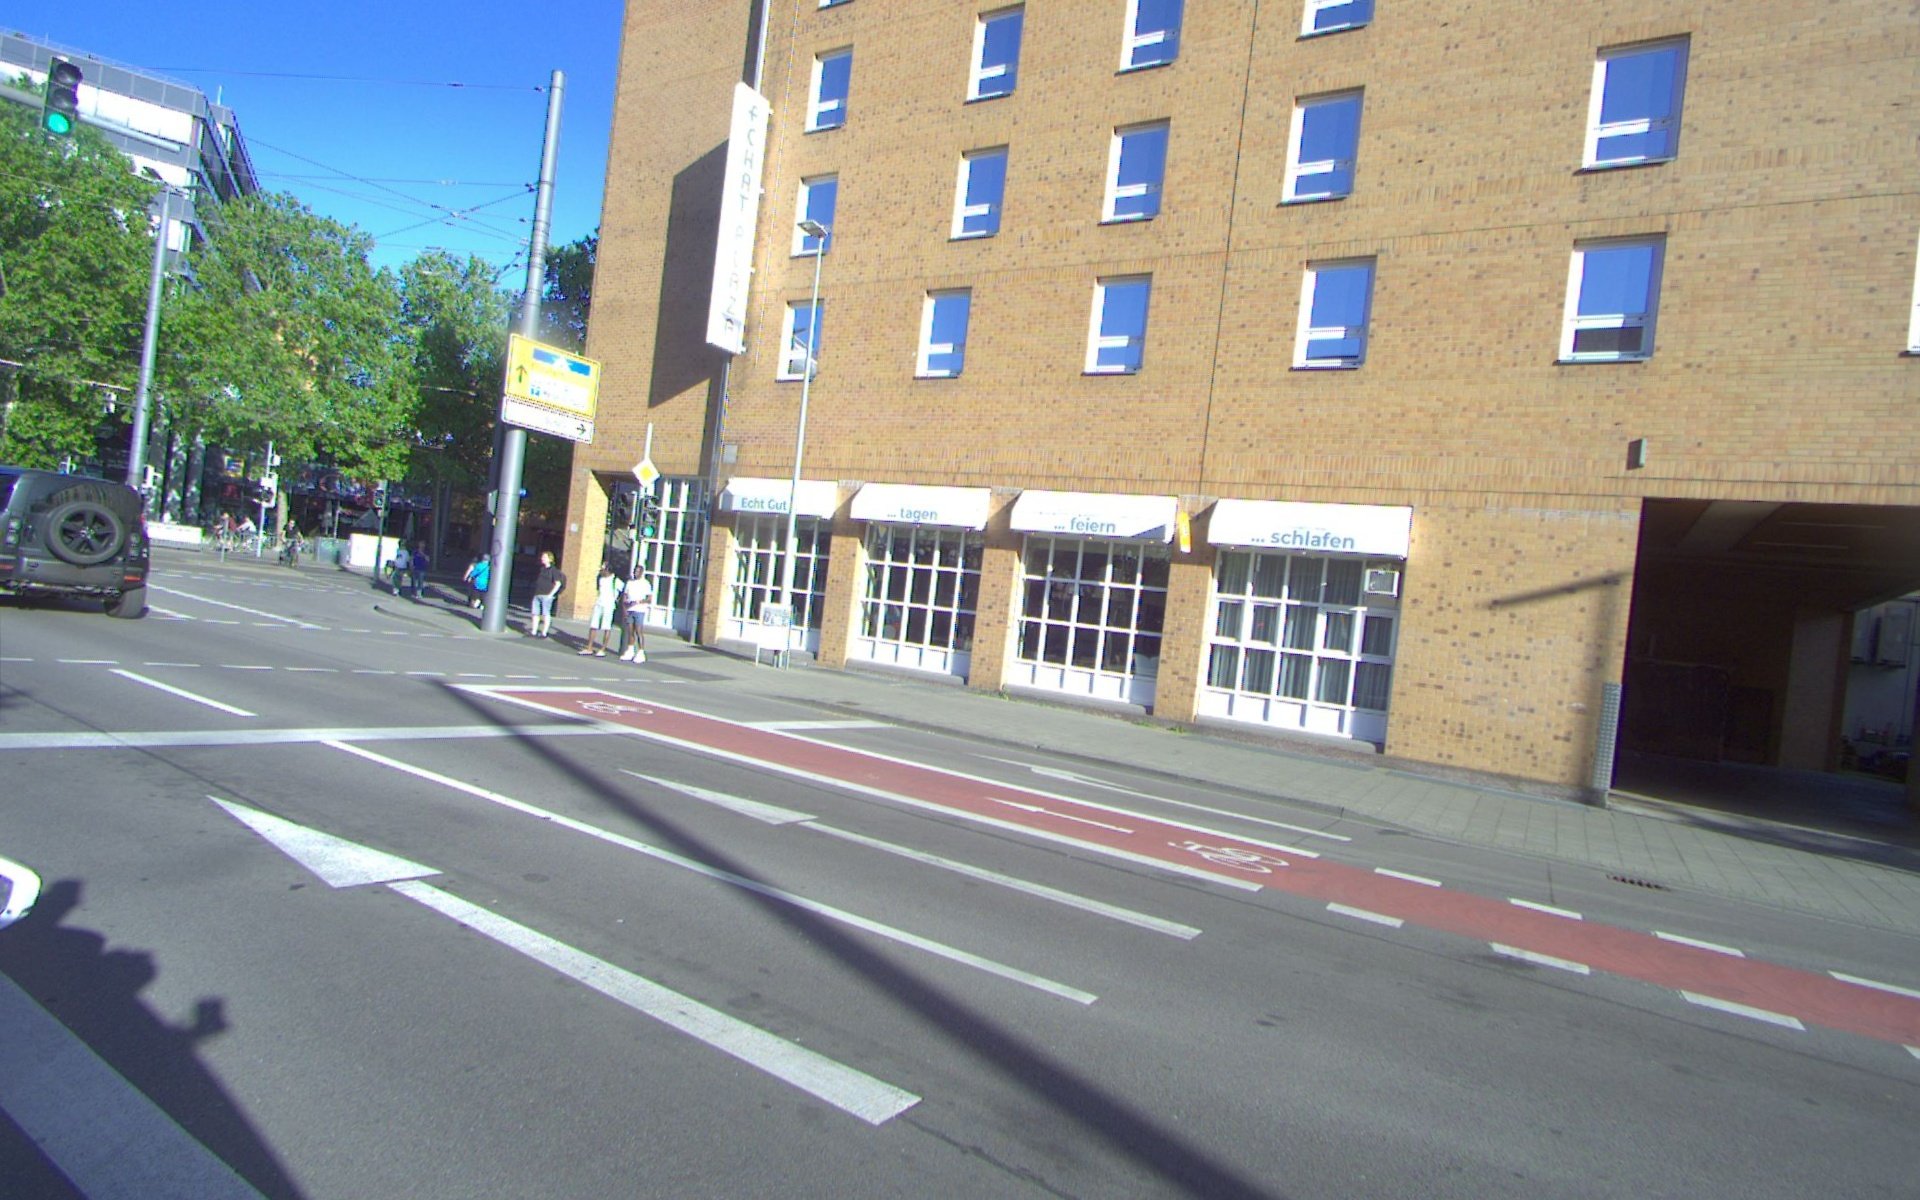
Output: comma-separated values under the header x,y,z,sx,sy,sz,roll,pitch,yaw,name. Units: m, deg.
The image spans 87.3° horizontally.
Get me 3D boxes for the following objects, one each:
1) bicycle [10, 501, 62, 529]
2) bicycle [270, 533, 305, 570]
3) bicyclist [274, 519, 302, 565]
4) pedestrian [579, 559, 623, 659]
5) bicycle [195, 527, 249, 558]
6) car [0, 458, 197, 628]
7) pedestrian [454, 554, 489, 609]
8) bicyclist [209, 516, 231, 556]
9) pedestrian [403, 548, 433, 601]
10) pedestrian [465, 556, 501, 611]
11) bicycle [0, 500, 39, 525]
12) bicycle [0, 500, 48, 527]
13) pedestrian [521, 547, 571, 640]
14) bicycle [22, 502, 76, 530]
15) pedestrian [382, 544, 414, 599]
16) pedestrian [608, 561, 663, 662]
x,y,z,sx,sy,sz,roll,pitch,yaw,name
-47.384,-4.348,51.603,0.354,1.058,1.884,6,-2,31,bicycle
-23.864,-1.720,35.664,0.564,1.192,2.302,8,-2,-43,bicycle
-23.848,-2.069,35.687,0.563,1.536,0.626,8,-2,-43,bicyclist
-6.784,0.168,19.006,0.586,1.802,0.678,6,1,-24,pedestrian
-36.357,-2.827,49.598,0.414,1.228,2.046,6,-2,32,bicycle
-13.254,-0.888,14.310,4.398,1.937,2.164,7,-2,31,car
-14.010,-0.529,28.875,0.543,1.495,0.593,6,0,32,pedestrian
-36.387,-3.150,49.492,0.396,1.859,0.585,6,-1,31,bicyclist
-16.406,-0.778,30.445,0.563,1.496,0.695,8,-2,-37,pedestrian
-13.429,-0.470,28.320,0.591,1.470,0.593,6,0,32,pedestrian
-50.156,-4.649,53.313,0.354,1.058,1.885,7,-2,31,bicycle
-49.168,-4.535,52.770,0.354,1.058,1.885,7,-2,31,bicycle
-8.564,-0.124,20.819,0.726,1.813,0.510,7,-1,-19,pedestrian
-46.017,-4.231,50.837,0.354,1.058,1.884,6,-2,31,bicycle
-16.774,-0.843,29.999,0.563,1.550,0.695,8,-2,-39,pedestrian
-6.050,0.217,18.793,0.583,1.802,0.682,6,0,6,pedestrian
